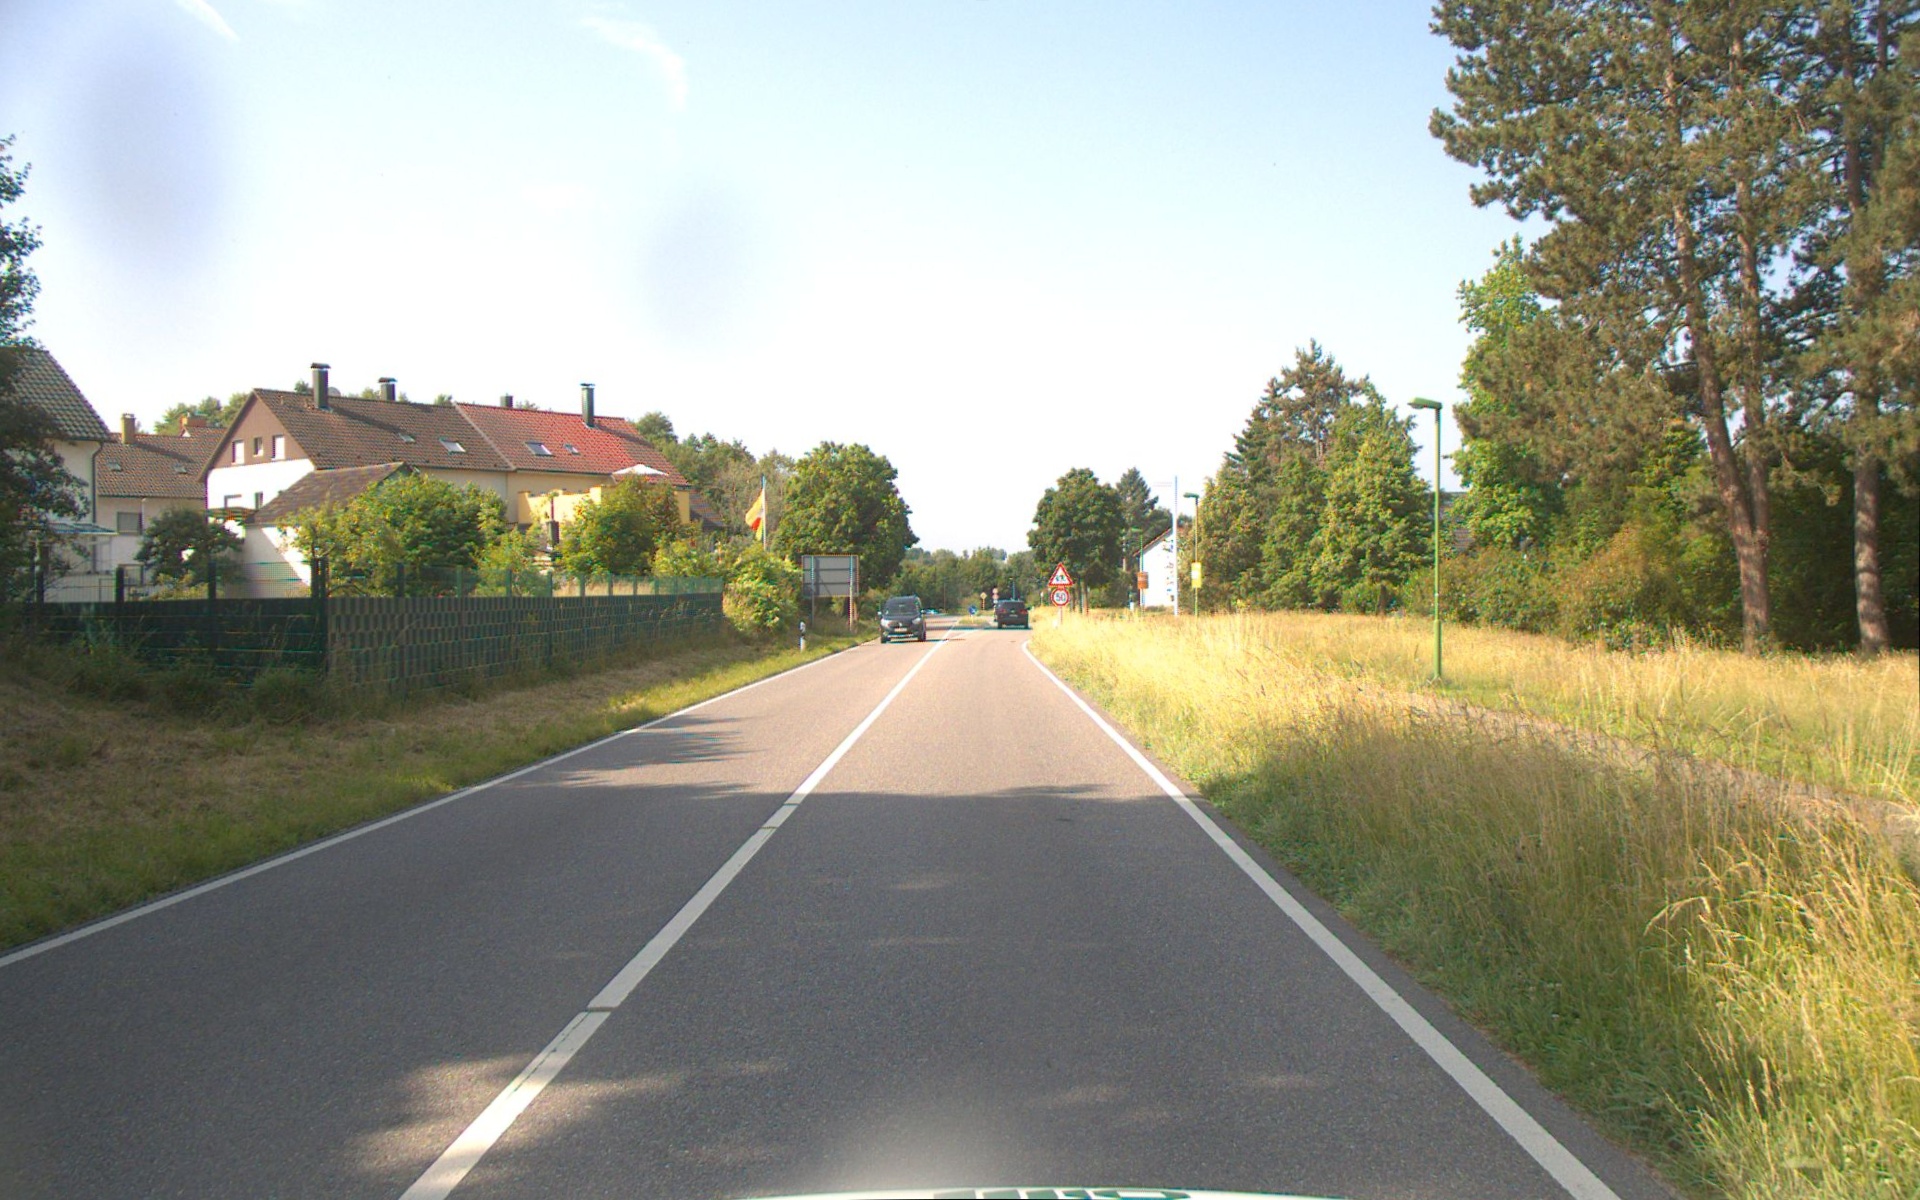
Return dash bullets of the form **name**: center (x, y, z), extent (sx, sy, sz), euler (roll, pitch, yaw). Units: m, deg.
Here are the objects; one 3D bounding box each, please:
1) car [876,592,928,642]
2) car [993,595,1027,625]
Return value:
- **car**: center (-2.304, 0.660, 66.658), extent (1.900, 1.849, 4.241), euler (-2, 0, 0)
- **car**: center (3.058, 0.594, 101.812), extent (1.886, 1.802, 3.999), euler (-1, 0, -2)
